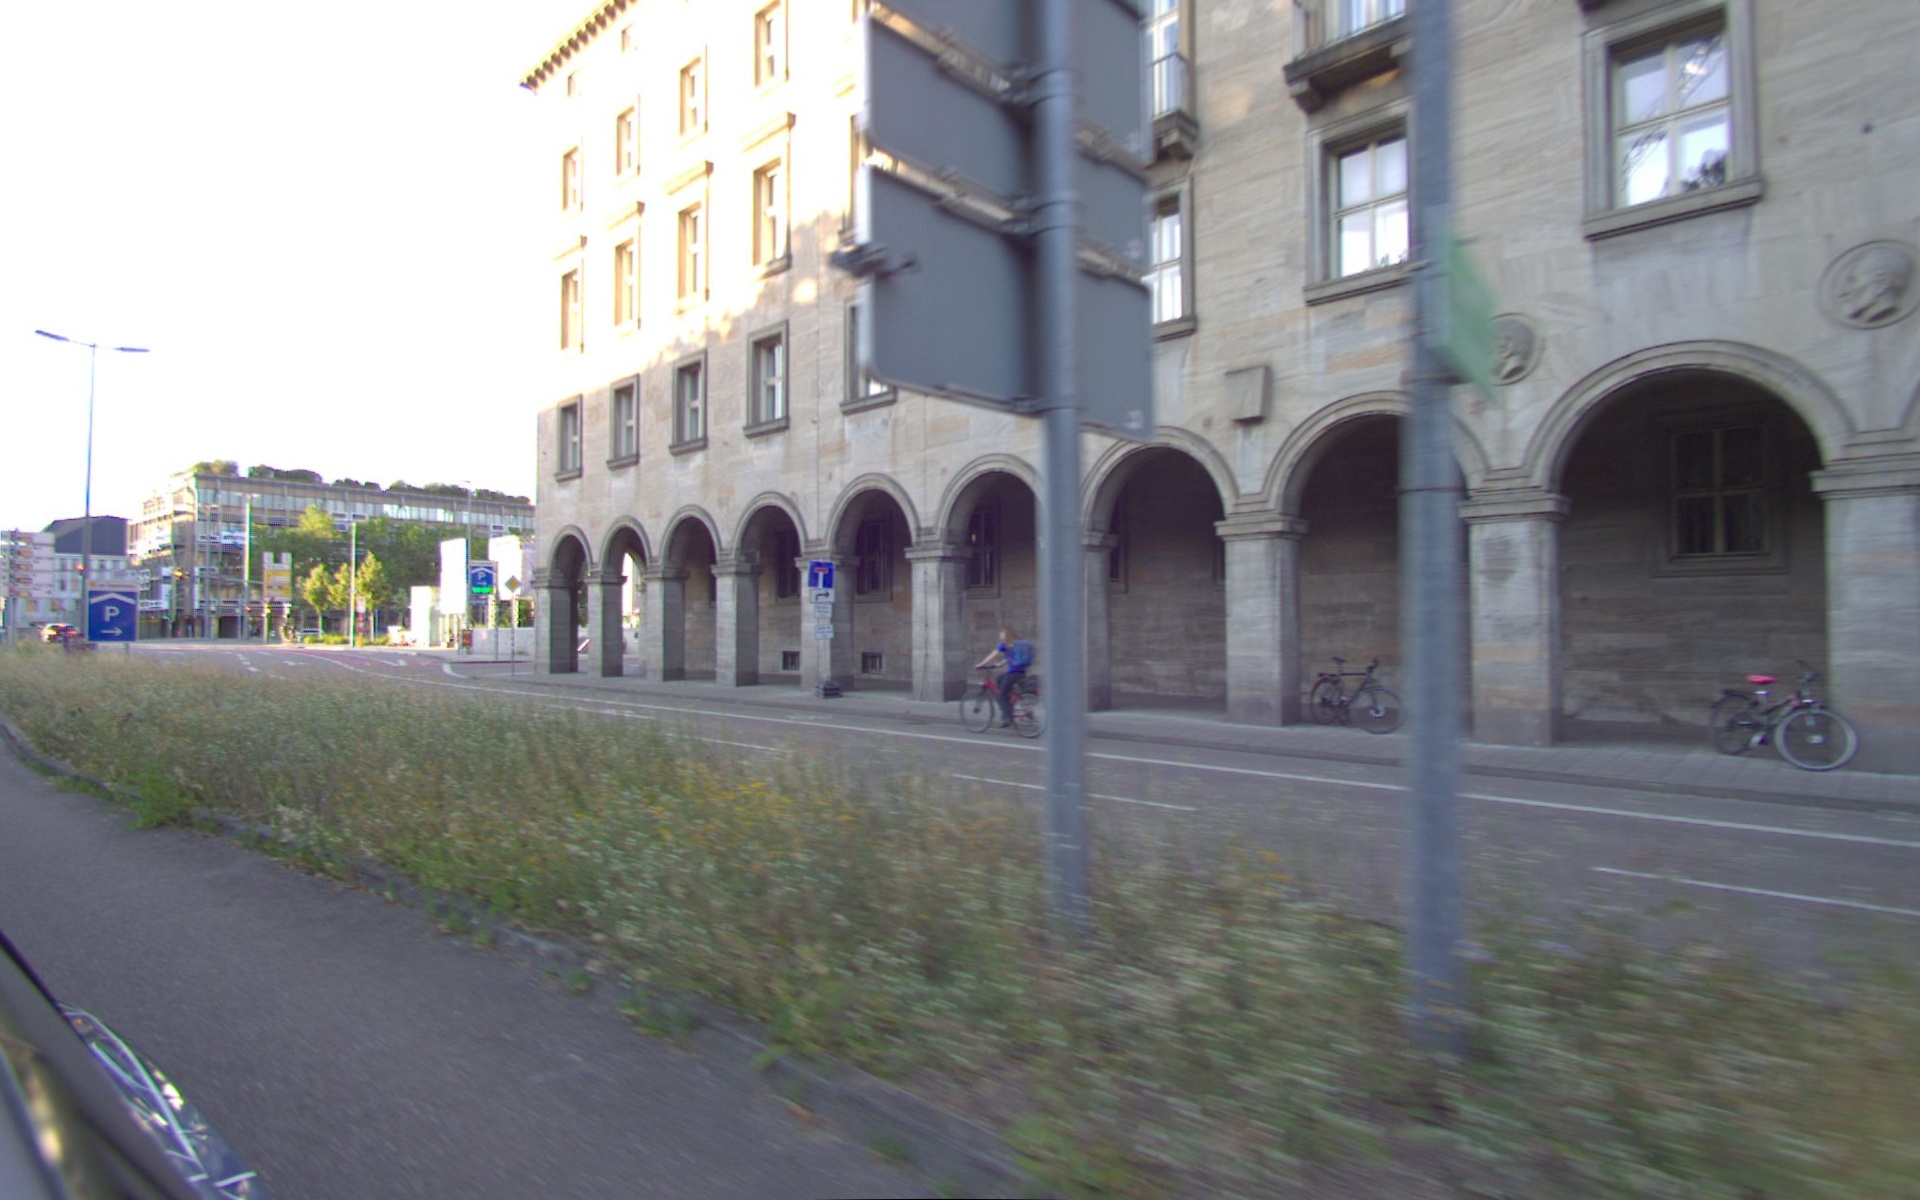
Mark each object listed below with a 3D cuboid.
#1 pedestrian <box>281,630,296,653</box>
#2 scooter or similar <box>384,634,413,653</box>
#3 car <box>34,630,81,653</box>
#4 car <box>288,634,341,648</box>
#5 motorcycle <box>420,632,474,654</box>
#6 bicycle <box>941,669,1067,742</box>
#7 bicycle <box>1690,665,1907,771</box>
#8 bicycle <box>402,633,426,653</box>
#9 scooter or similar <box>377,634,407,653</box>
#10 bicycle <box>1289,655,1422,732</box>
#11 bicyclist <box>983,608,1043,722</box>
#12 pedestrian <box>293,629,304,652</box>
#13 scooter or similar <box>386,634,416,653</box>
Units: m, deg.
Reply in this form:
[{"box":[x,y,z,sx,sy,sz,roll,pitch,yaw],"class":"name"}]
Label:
[{"box":[-55.307,3.427,83.323,0.776,1.851,0.862,-2,-3,45],"class":"pedestrian"},{"box":[-39.925,3.074,71.977,0.422,1.315,1.813,-1,-2,37],"class":"scooter or similar"},{"box":[-60.432,2.789,67.735,4.537,1.477,1.866,-2,-3,43],"class":"car"},{"box":[-78.299,5.008,122.834,2.000,1.597,5.090,-3,-3,43],"class":"car"},{"box":[-34.539,2.871,68.207,0.840,1.393,3.198,-2,-1,41],"class":"motorcycle"},{"box":[0.652,1.596,15.651,2.002,1.013,0.536,-2,-2,38],"class":"bicycle"},{"box":[9.303,1.271,11.353,0.471,1.013,2.009,0,-2,-11],"class":"bicycle"},{"box":[-38.019,2.984,70.441,2.509,1.334,0.610,-2,-2,42],"class":"bicycle"},{"box":[-40.709,3.093,72.585,0.500,1.315,1.840,-1,-2,37],"class":"scooter or similar"},{"box":[5.804,1.345,14.988,0.470,1.013,2.011,1,-2,-28],"class":"bicycle"},{"box":[0.813,0.979,15.557,0.748,1.706,0.531,-1,-2,39],"class":"bicyclist"},{"box":[-55.055,3.358,84.276,0.651,1.948,0.648,1,-3,-42],"class":"pedestrian"},{"box":[-39.581,3.060,71.699,0.422,1.315,1.818,-1,-2,37],"class":"scooter or similar"}]
